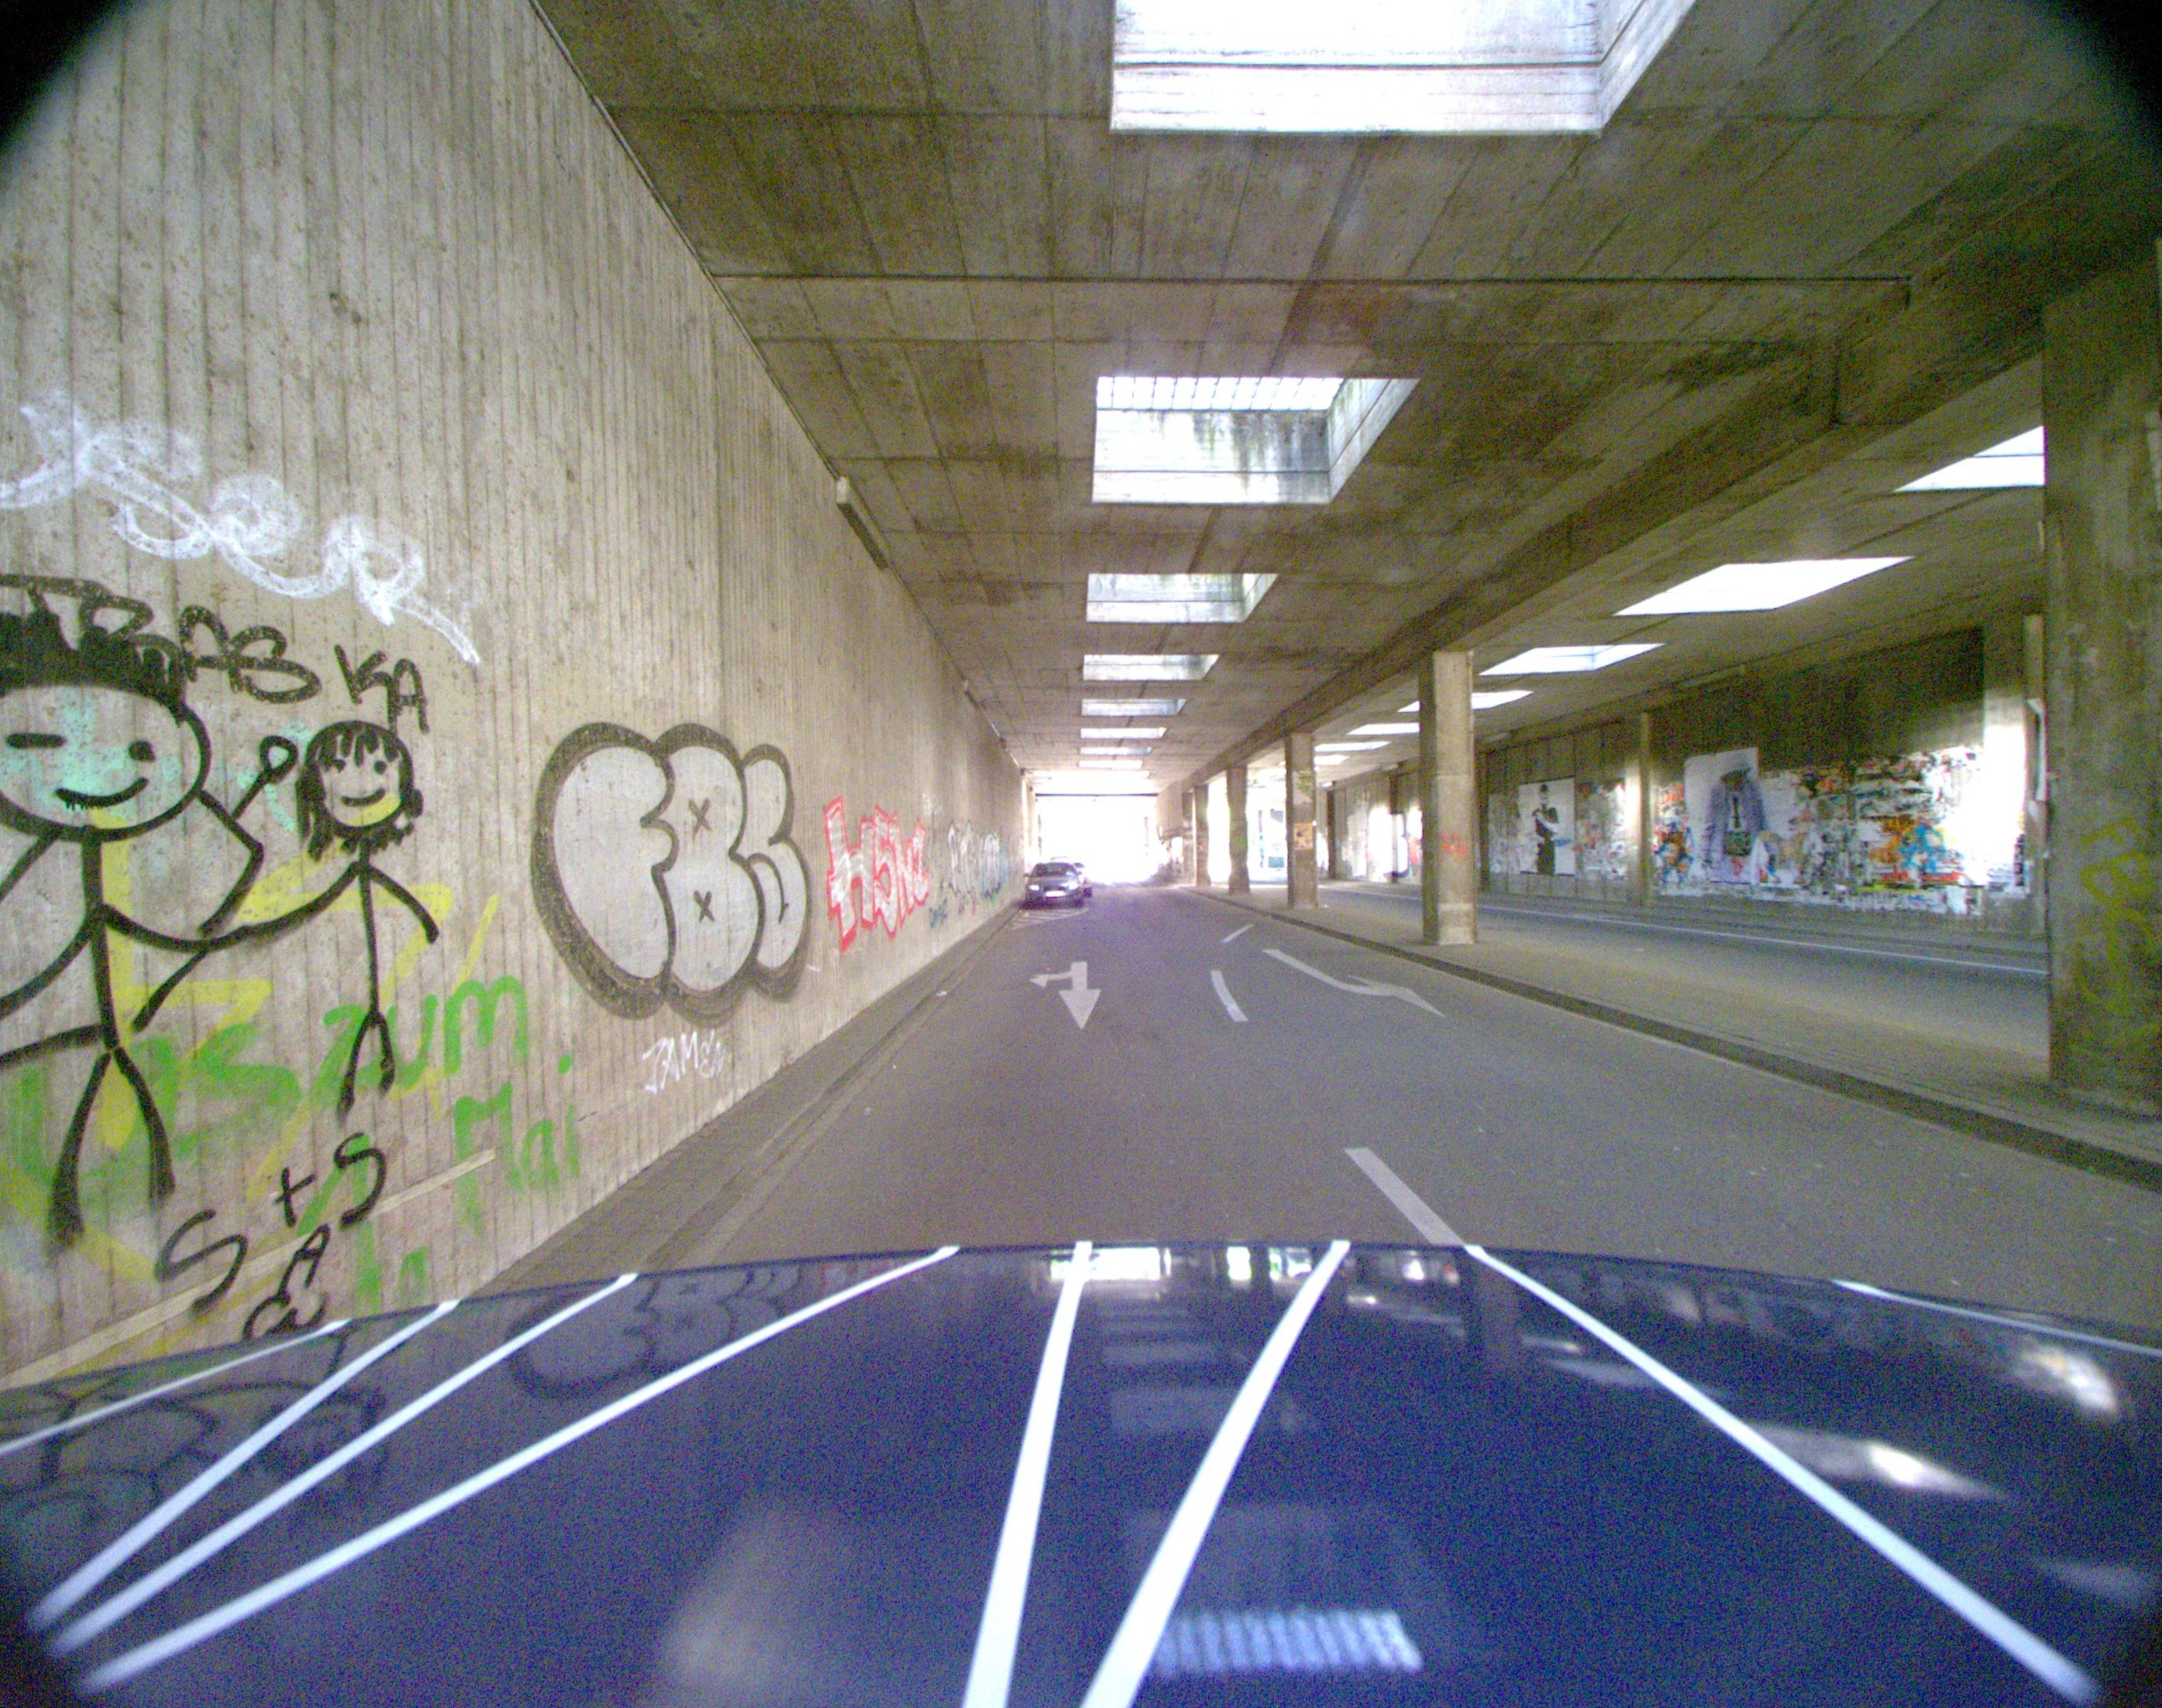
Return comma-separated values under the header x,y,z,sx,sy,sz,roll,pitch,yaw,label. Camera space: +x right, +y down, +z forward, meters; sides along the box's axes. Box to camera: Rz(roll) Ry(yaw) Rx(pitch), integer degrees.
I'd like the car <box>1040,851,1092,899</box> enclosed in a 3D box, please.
x,y,z,sx,sy,sz,roll,pitch,yaw,label
-0.517,0.764,29.791,1.861,1.709,4.000,-2,0,1,car

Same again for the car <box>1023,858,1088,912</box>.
x,y,z,sx,sy,sz,roll,pitch,yaw,label
-0.722,0.906,24.055,1.808,1.460,4.000,-2,0,1,car
